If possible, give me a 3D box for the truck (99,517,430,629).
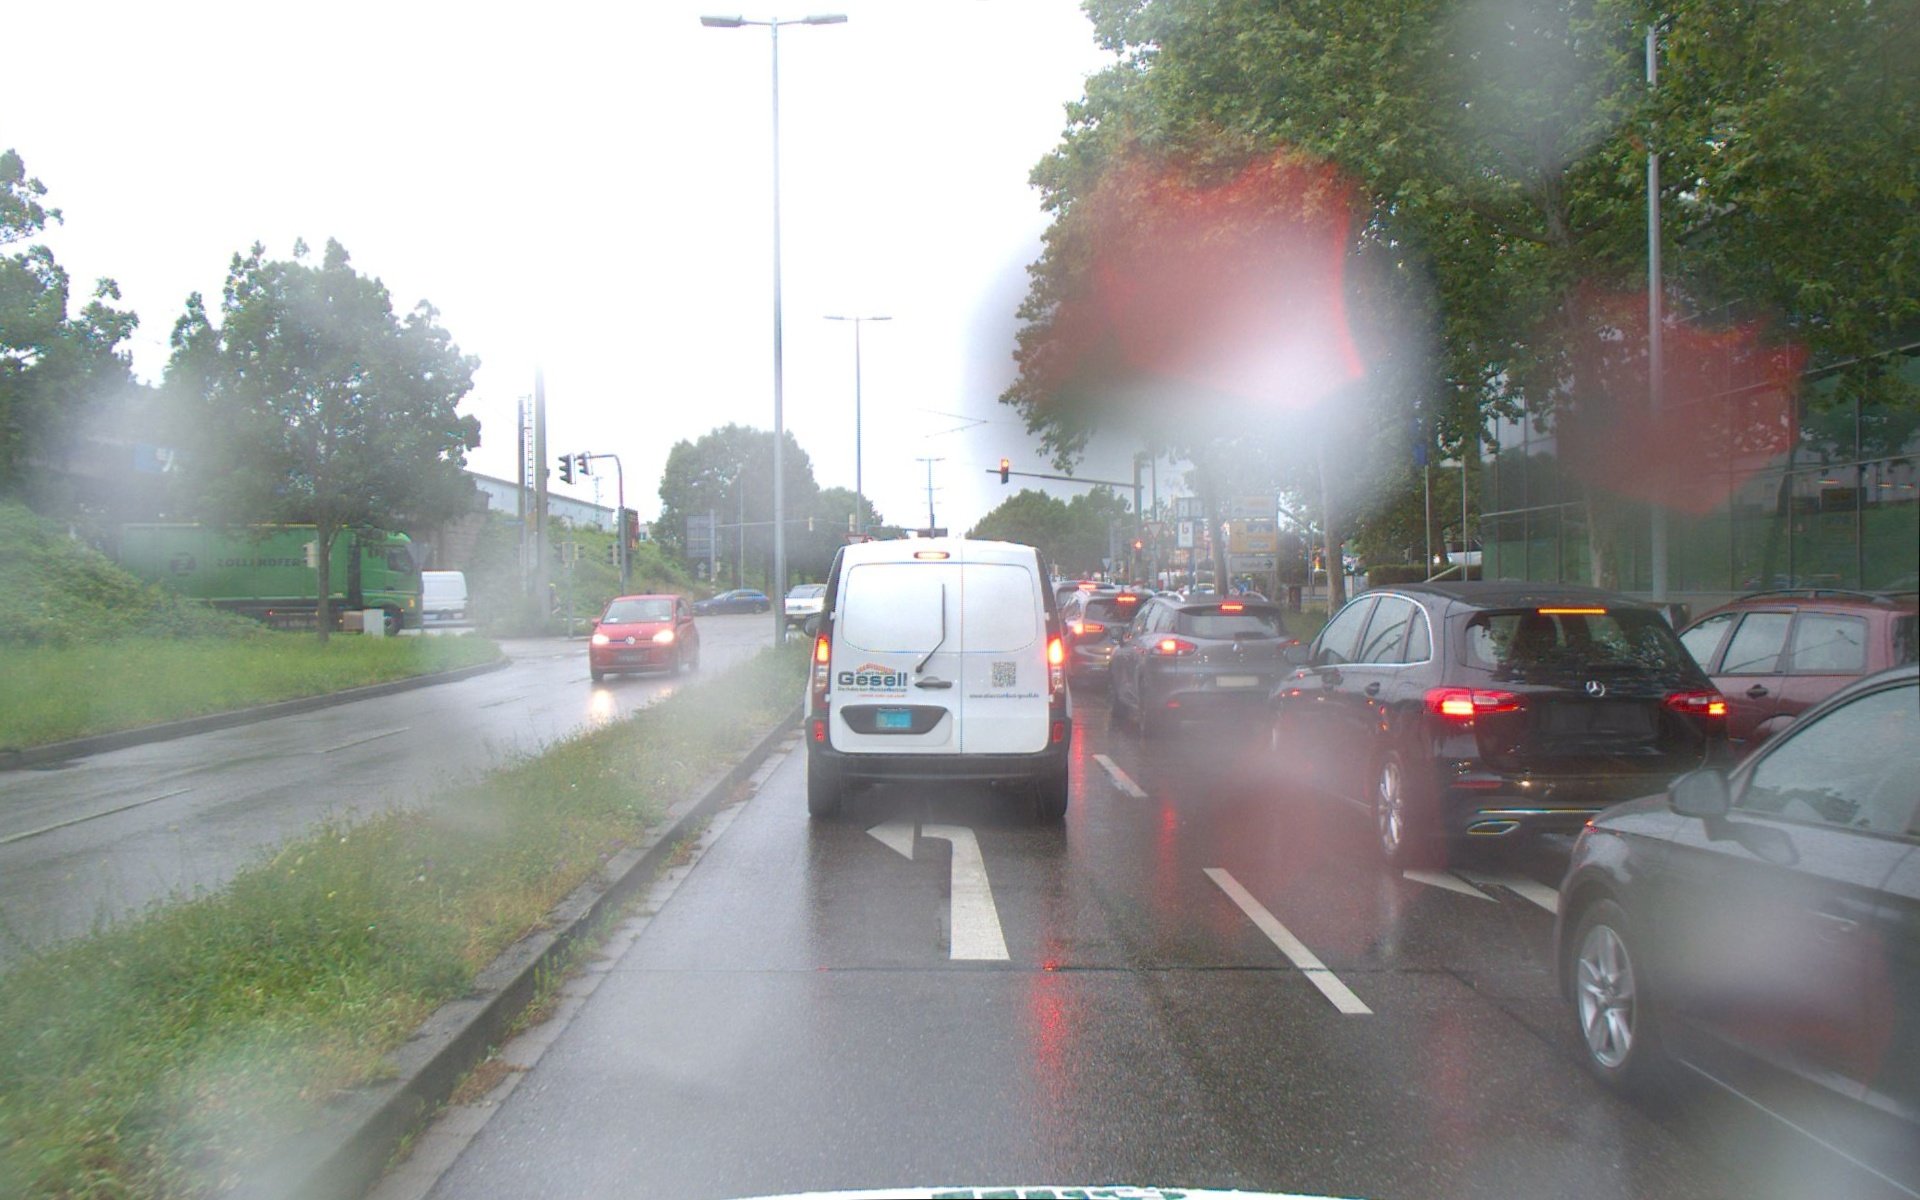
[{"bbox_3d":[-23.405,-0.783,56.154,10.038,3.512,2.622,1,-2,-39],"label":"truck"}]

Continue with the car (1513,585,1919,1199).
[{"bbox_3d":[2.968,0.714,3.726,1.954,1.477,3.998,0,0,-3],"label":"car"}]

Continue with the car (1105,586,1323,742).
[{"bbox_3d":[2.629,0.598,17.940,1.677,1.470,3.999,0,1,-1],"label":"car"}]

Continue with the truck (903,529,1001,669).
[{"bbox_3d":[-0.214,-0.019,31.857,1.721,2.509,3.998,0,0,-3],"label":"truck"}]

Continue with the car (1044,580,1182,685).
[{"bbox_3d":[2.278,0.443,25.520,1.677,1.470,3.999,0,1,-1],"label":"car"}]

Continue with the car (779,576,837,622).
[{"bbox_3d":[-5.674,-0.076,62.122,1.923,1.551,4.332,-2,1,-3],"label":"car"}]

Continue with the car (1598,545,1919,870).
[{"bbox_3d":[5.736,0.529,10.645,1.677,1.701,3.957,0,1,-1],"label":"car"}]

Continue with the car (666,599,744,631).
[{"bbox_3d":[-13.983,0.798,90.774,3.888,1.551,1.760,-3,1,-27],"label":"car"}]

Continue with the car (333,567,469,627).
[{"bbox_3d":[-26.980,-0.087,79.953,5.958,2.792,1.973,1,-2,-38],"label":"car"}]

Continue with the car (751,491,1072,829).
[{"bbox_3d":[-0.379,0.380,12.081,1.954,2.049,3.998,0,-1,-3],"label":"car"}]

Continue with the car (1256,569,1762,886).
[{"bbox_3d":[3.126,0.600,10.318,1.674,1.577,3.998,0,1,-3],"label":"car"}]

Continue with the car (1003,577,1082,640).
[{"bbox_3d":[1.981,0.175,40.609,1.677,1.470,3.999,0,1,-1],"label":"car"}]

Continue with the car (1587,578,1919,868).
[{"bbox_3d":[5.917,0.668,11.023,1.802,1.563,4.110,0,0,-2],"label":"car"}]

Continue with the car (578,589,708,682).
[{"bbox_3d":[-5.813,0.608,30.733,1.681,1.540,3.614,-2,1,0],"label":"car"}]
